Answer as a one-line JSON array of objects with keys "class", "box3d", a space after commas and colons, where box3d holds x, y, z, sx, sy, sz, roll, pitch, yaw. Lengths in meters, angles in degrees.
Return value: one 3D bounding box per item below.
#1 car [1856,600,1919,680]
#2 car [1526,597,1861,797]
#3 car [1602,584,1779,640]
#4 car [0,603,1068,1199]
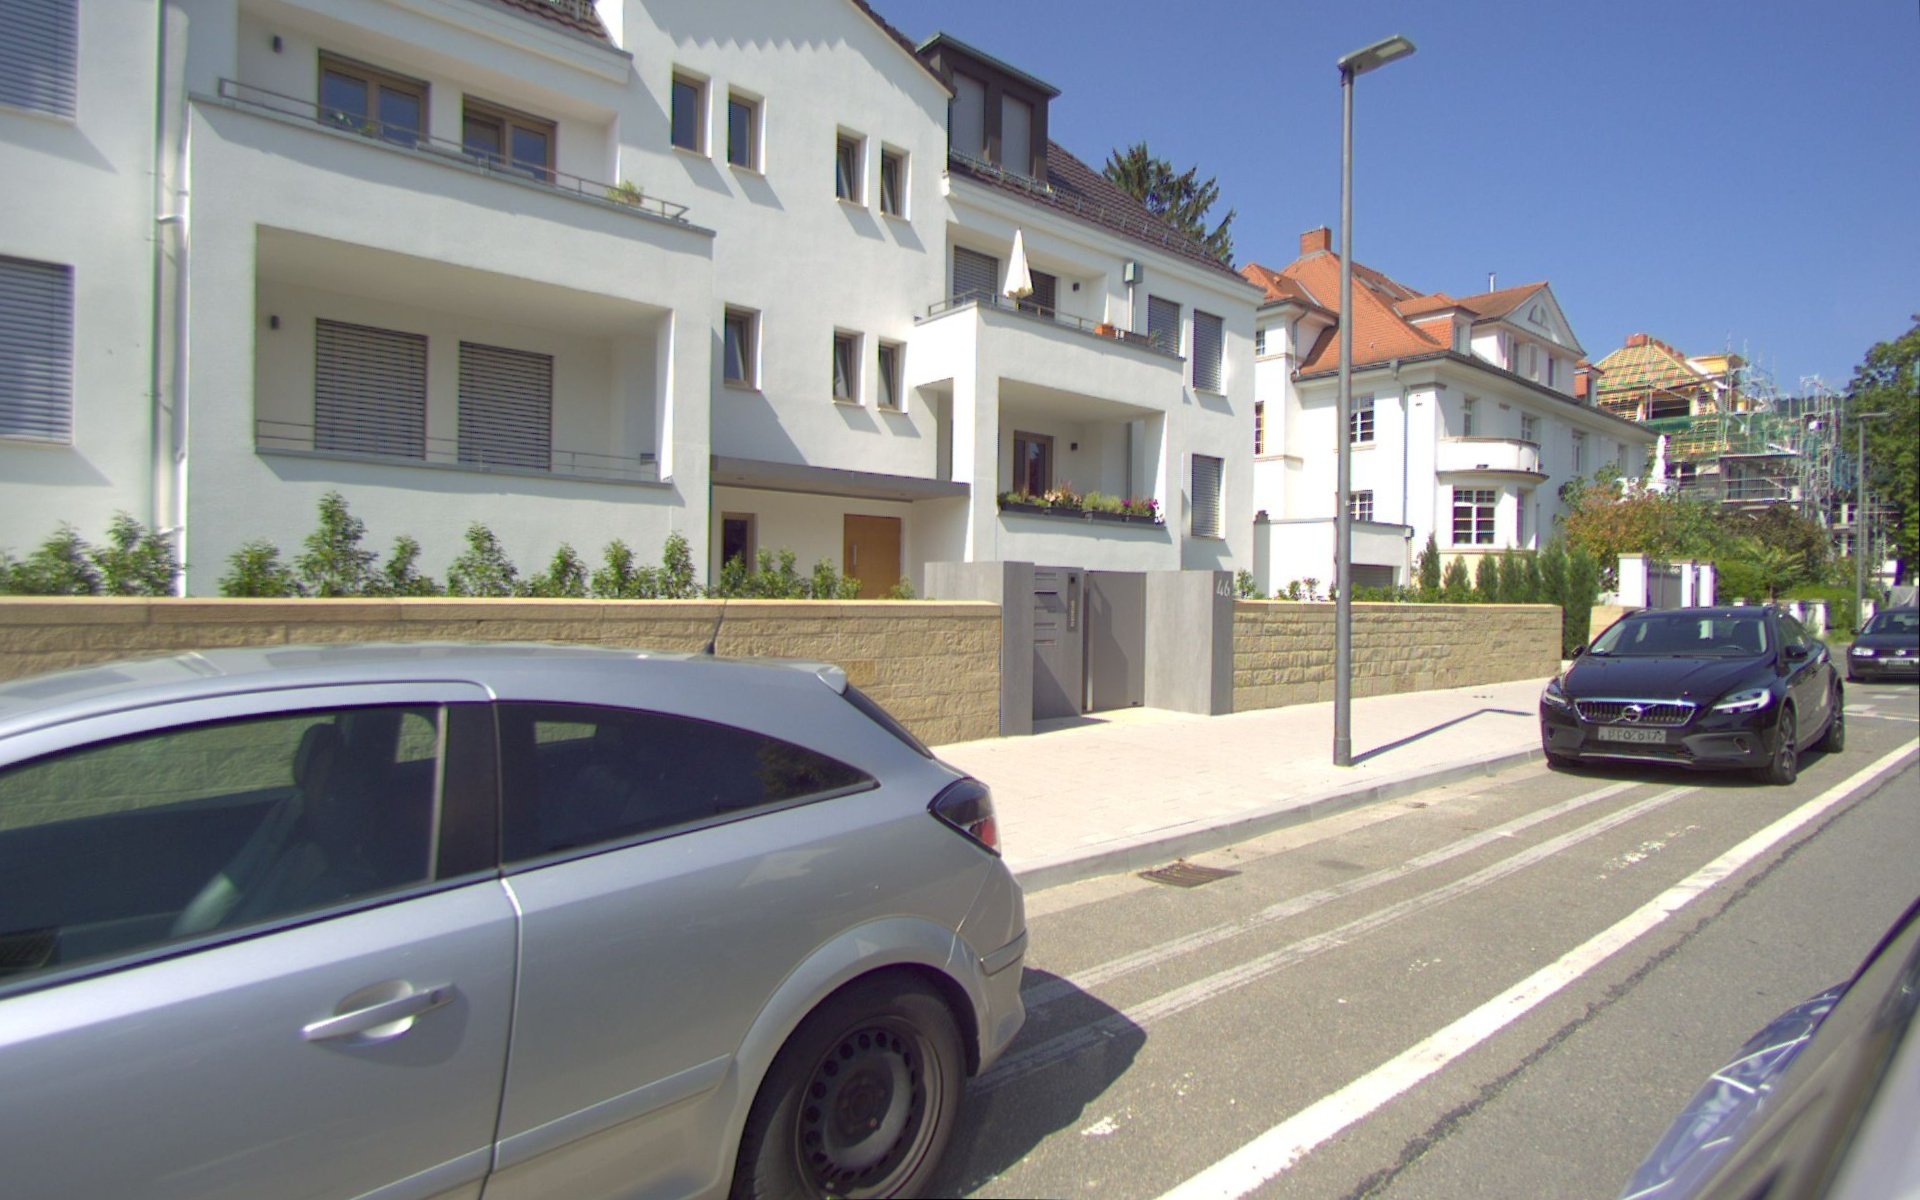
[{"class": "car", "box3d": [19.228, 0.729, 19.869, 3.925, 1.468, 1.623, 0, -3, -37]}, {"class": "car", "box3d": [7.039, 0.741, 9.545, 4.097, 1.468, 1.724, 0, -2, -42]}, {"class": "car", "box3d": [22.599, 0.401, 31.423, 1.673, 1.603, 4.167, 0, -2, -42]}, {"class": "car", "box3d": [-1.819, 0.754, 2.031, 4.005, 1.346, 1.739, -1, -2, -40]}]
